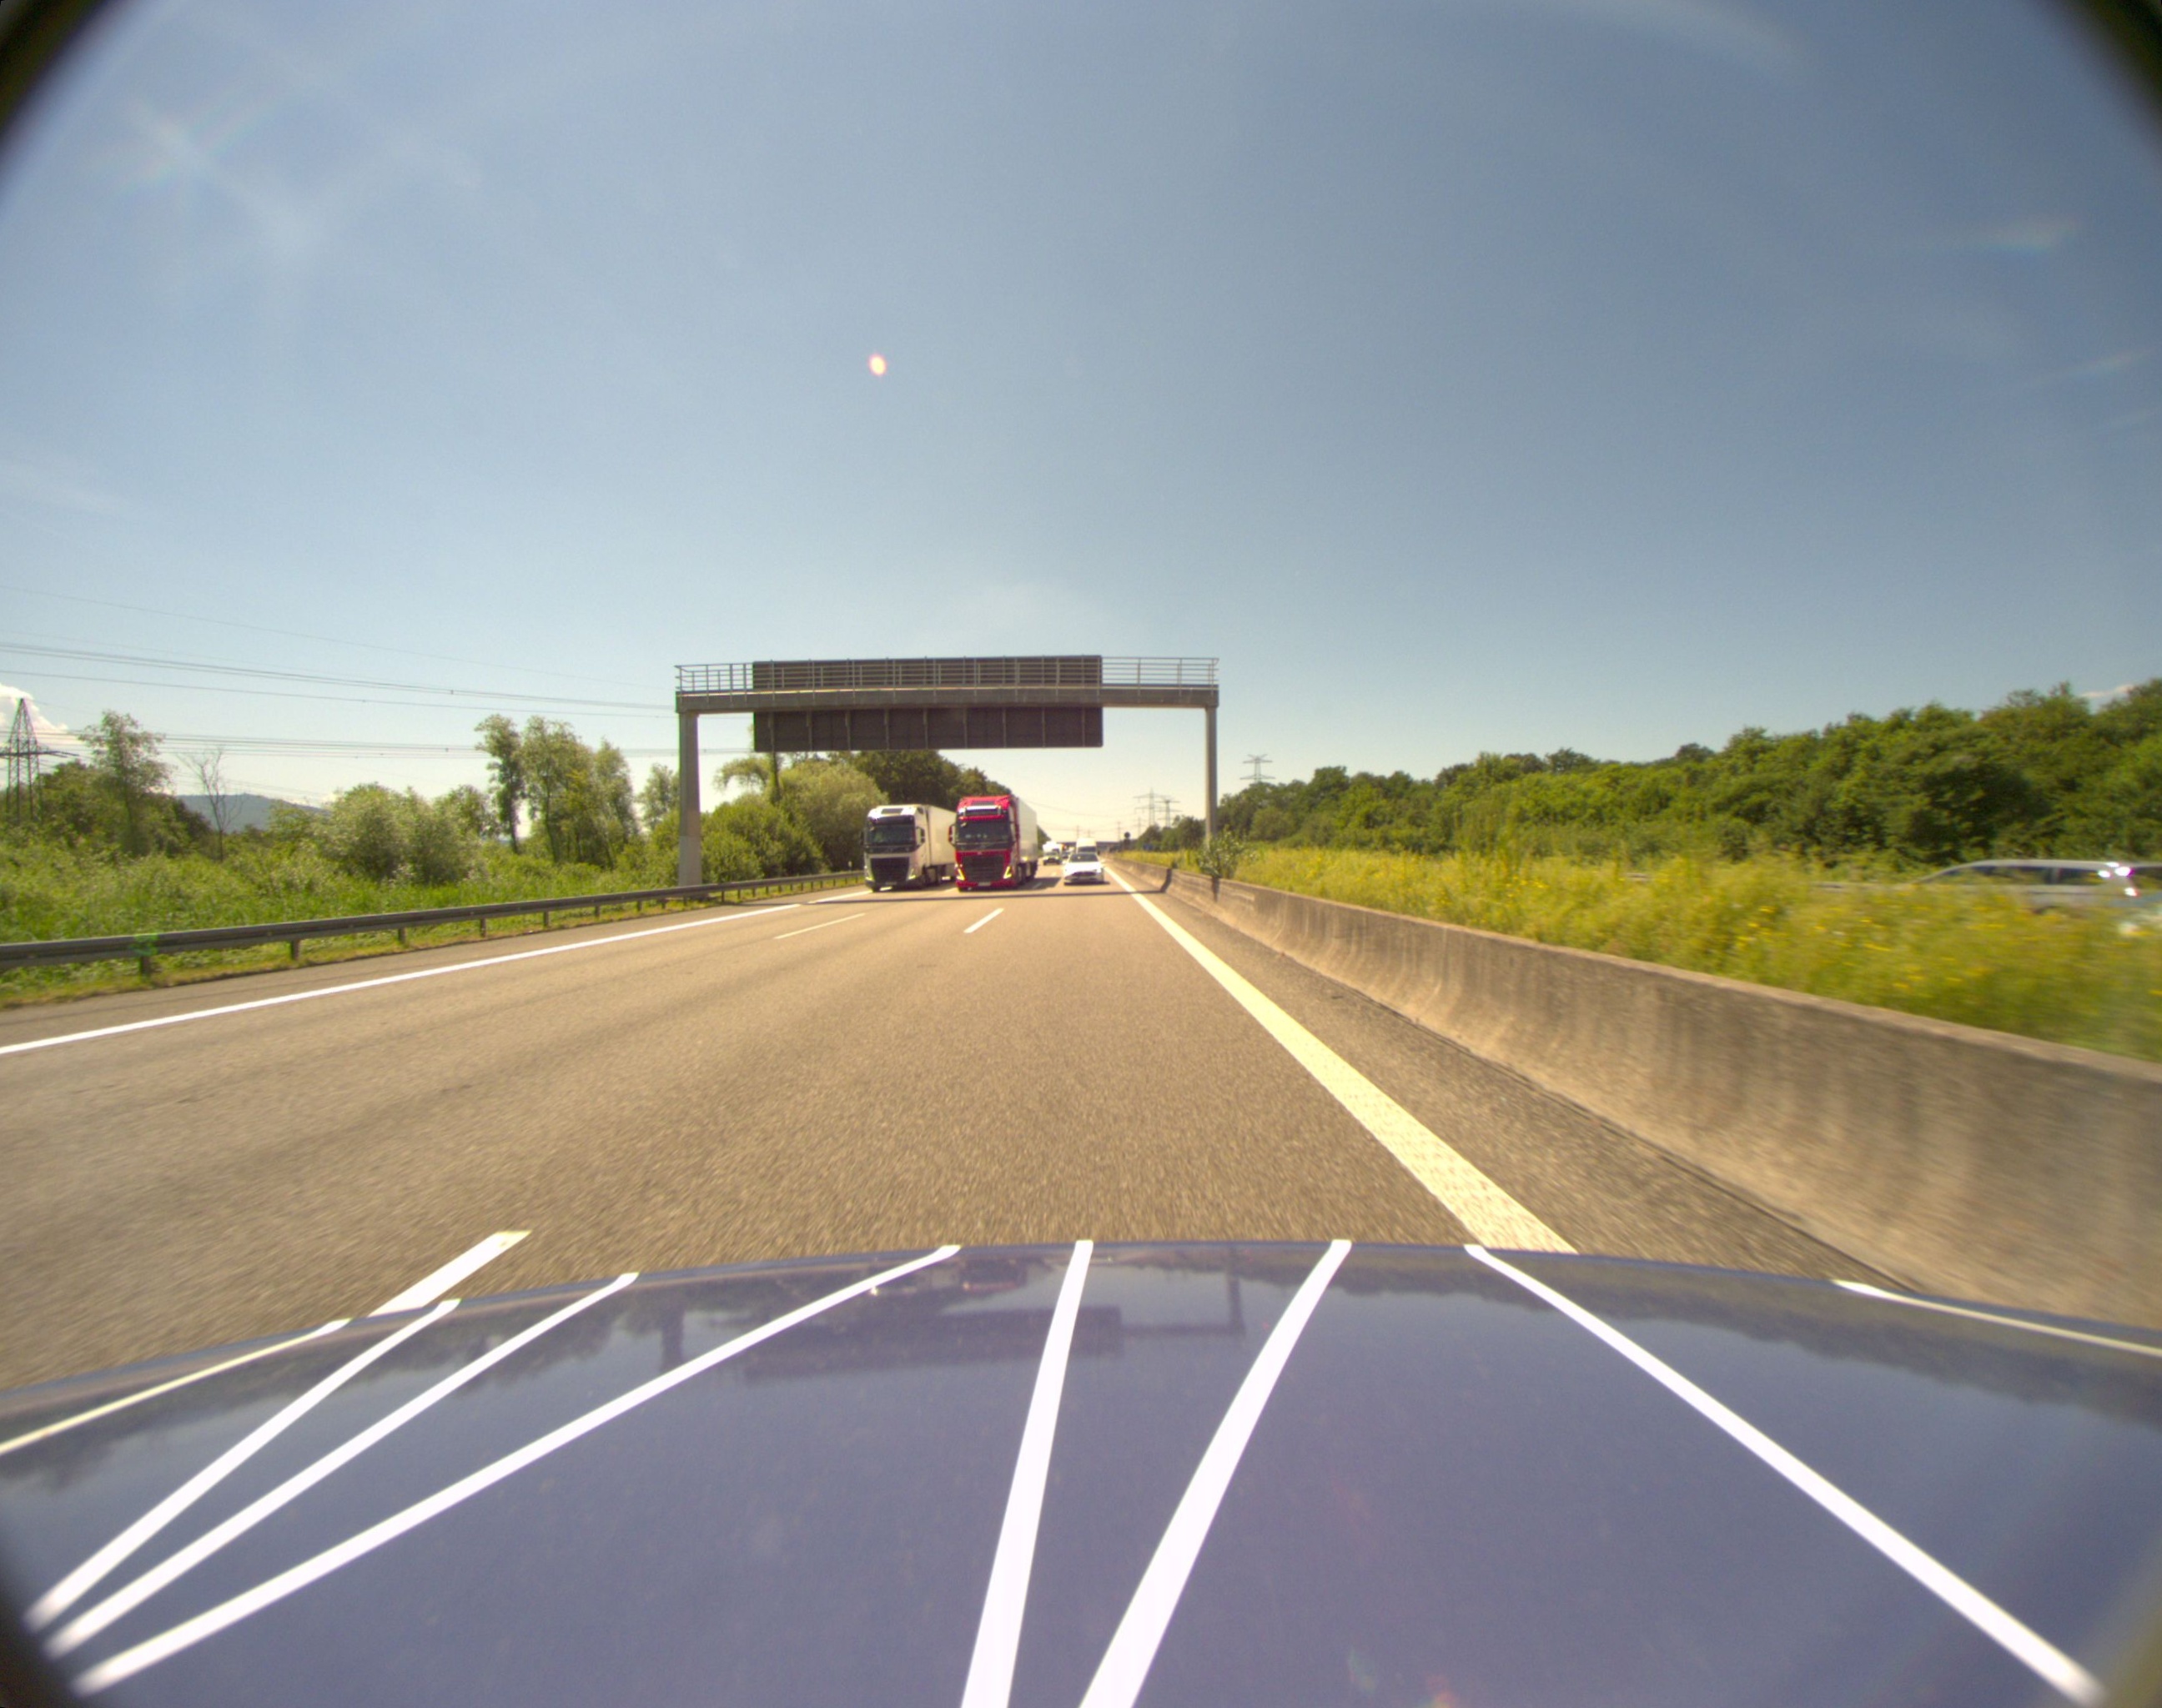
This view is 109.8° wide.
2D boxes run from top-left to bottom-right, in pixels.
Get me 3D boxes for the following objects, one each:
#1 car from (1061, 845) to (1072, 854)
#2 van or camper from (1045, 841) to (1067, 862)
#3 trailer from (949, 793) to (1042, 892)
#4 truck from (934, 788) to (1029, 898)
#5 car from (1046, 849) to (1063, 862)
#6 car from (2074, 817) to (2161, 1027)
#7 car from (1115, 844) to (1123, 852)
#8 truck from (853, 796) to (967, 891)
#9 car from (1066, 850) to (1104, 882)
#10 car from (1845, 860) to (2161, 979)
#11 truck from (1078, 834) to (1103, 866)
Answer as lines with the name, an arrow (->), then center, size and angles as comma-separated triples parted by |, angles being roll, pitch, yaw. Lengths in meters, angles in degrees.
car -> -2.770, -0.851, 145.426 | 1.904, 1.662, 3.999 | -2, 0, 0
van or camper -> -3.034, -0.338, 94.470 | 2.411, 2.483, 6.431 | -2, 0, 0
trailer -> -3.945, -0.568, 39.640 | 2.945, 3.995, 16.197 | -2, 1, 0
truck -> -3.888, -0.455, 31.222 | 2.948, 3.963, 6.100 | -2, 1, 0
car -> -3.113, 0.165, 89.193 | 1.788, 1.520, 4.104 | -2, 0, 0
car -> 9.744, 0.547, 4.150 | 1.998, 1.710, 5.117 | -1, 0, 1
car -> 10.790, -1.681, 215.453 | 1.998, 2.002, 6.222 | 1, 0, 0
truck -> -8.384, -0.516, 39.061 | 3.033, 4.069, 10.976 | -2, 1, 1
car -> 0.199, 0.576, 38.893 | 1.788, 1.462, 3.999 | -2, 1, 0
car -> 16.994, 1.008, 13.694 | 1.967, 1.666, 4.461 | -2, 1, 1
truck -> 0.840, -0.414, 71.802 | 2.192, 2.841, 5.503 | -2, 0, 0
